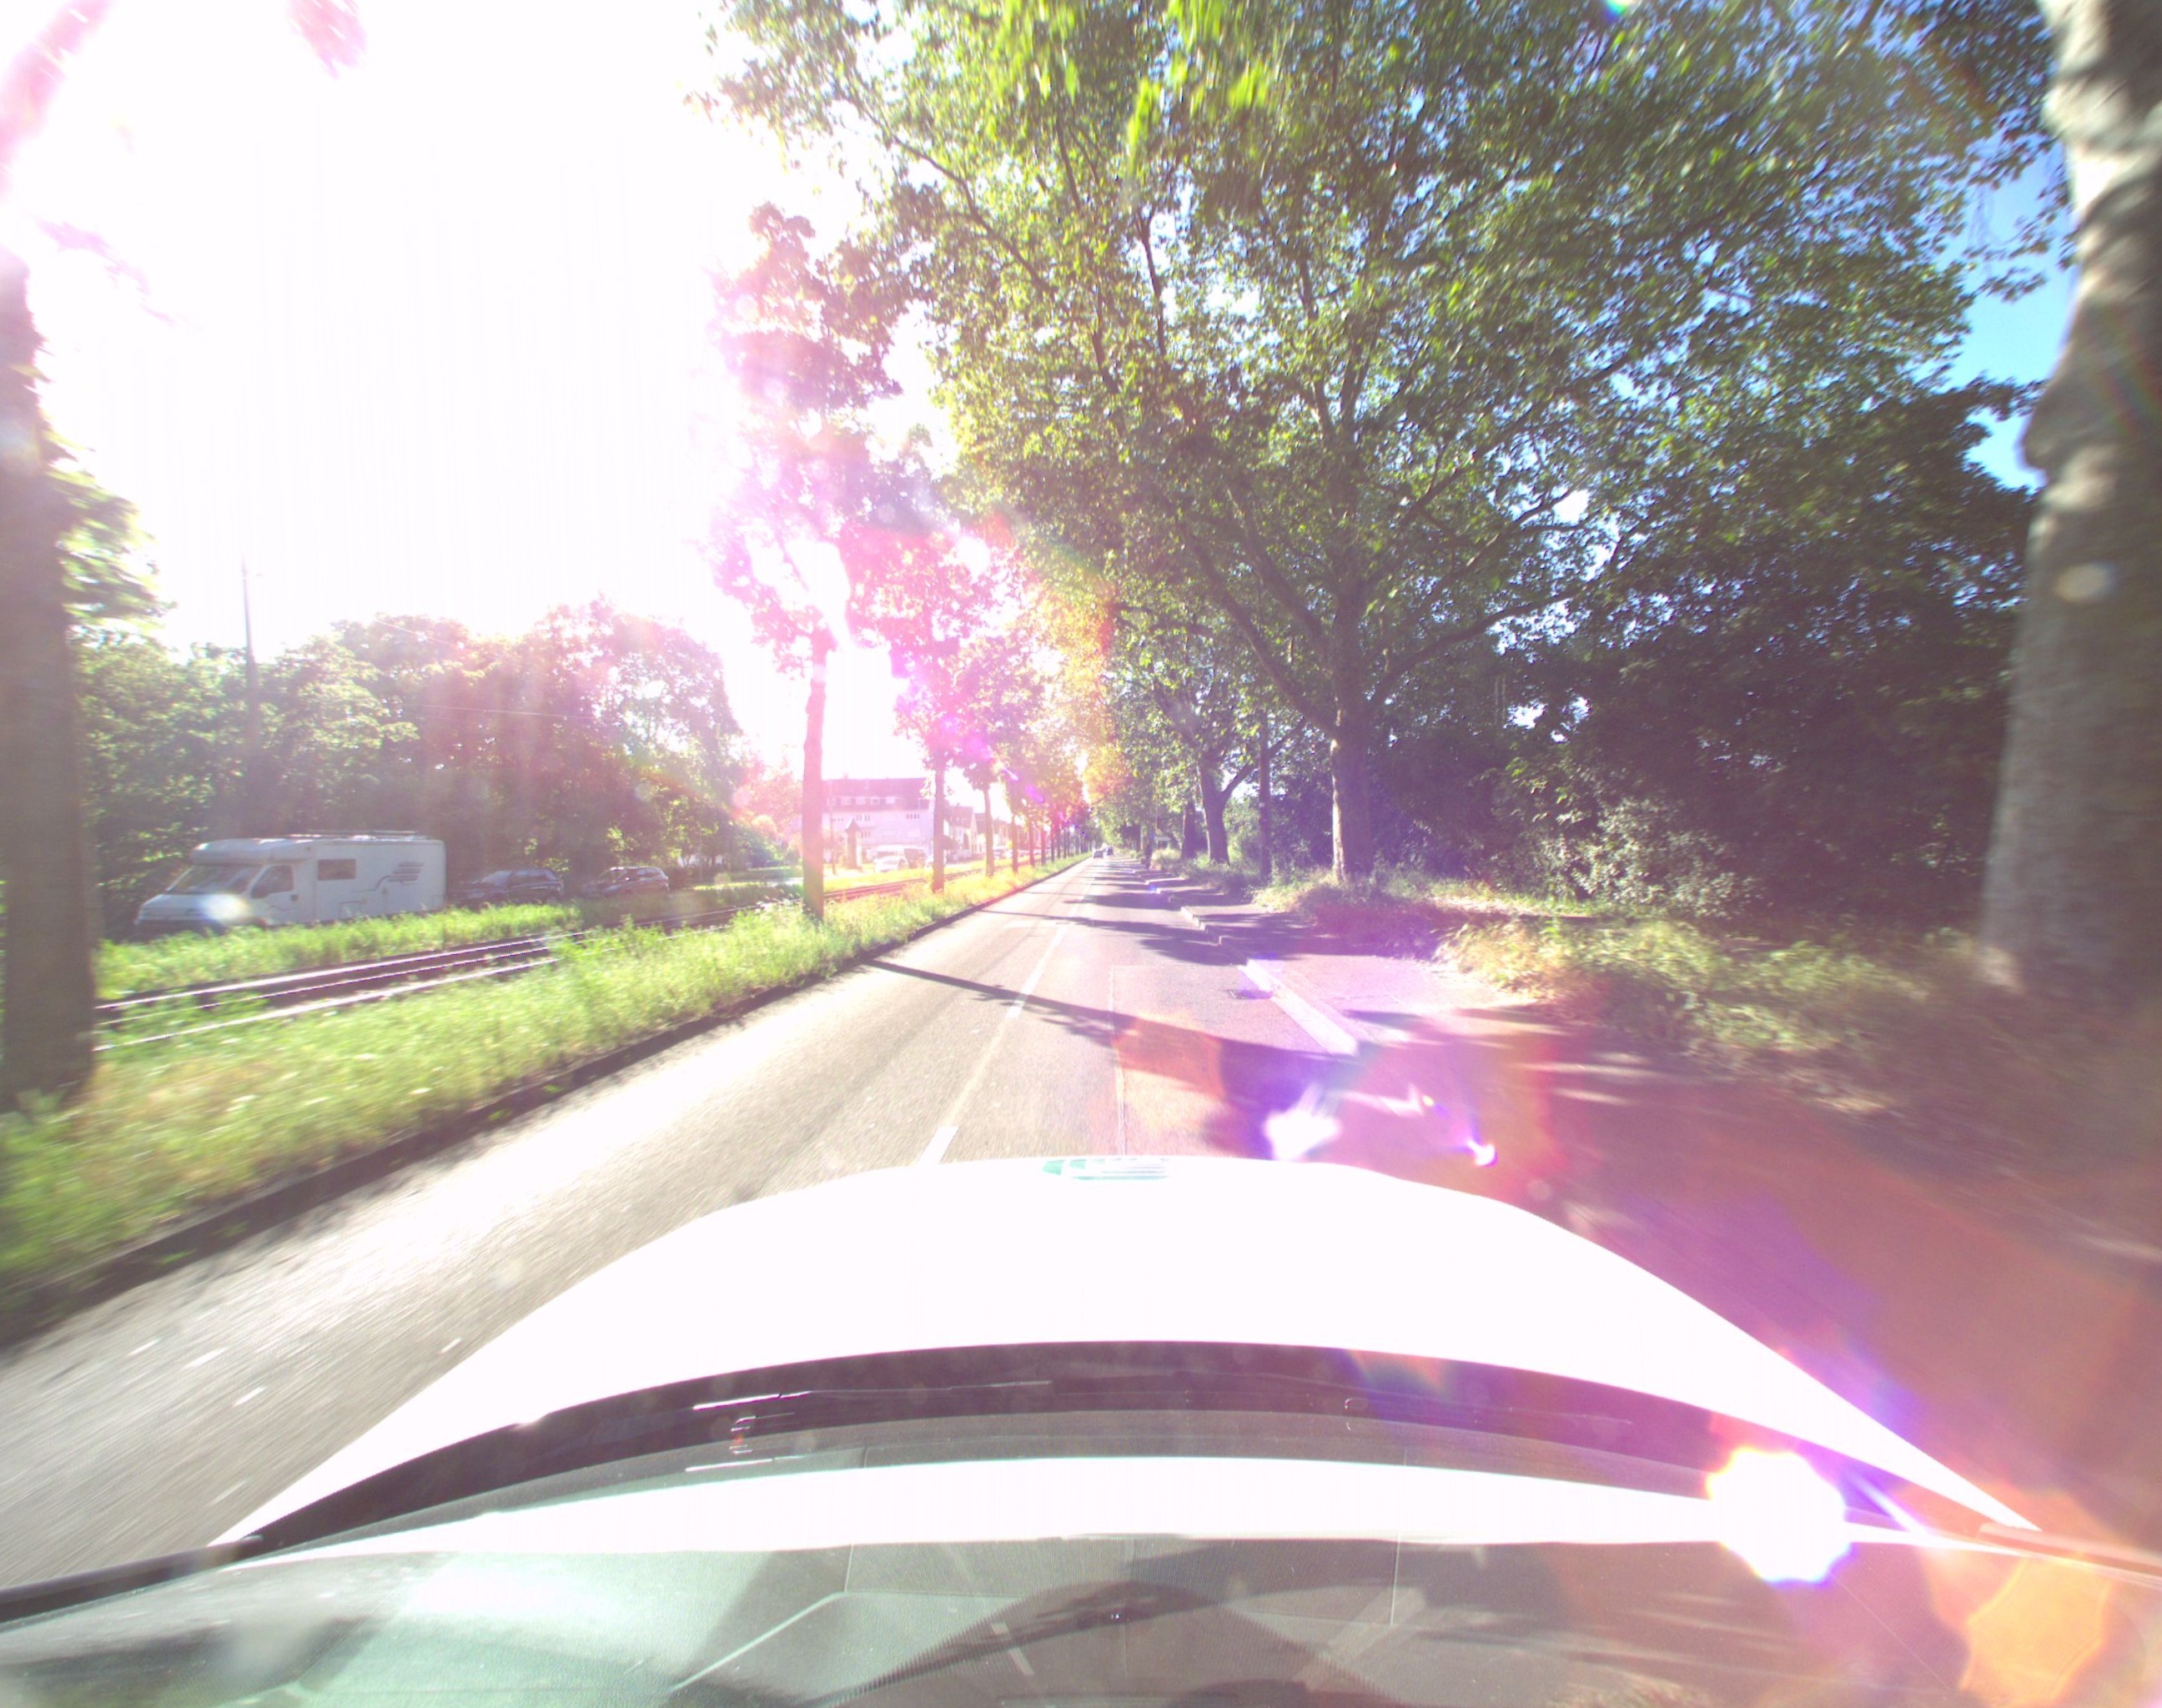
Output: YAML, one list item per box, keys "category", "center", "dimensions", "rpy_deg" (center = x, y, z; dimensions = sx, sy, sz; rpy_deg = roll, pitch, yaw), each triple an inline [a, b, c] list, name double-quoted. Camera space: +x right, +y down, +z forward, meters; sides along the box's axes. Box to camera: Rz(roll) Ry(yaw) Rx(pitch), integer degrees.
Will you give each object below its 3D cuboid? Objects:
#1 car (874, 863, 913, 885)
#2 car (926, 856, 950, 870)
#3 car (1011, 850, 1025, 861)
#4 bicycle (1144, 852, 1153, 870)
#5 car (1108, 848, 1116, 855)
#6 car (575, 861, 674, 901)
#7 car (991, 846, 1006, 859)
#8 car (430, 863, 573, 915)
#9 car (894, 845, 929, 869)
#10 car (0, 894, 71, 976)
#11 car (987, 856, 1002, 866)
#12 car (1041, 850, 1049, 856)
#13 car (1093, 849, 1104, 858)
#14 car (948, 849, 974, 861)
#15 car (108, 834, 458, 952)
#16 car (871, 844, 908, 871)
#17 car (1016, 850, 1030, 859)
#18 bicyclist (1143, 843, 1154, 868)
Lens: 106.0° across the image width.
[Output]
- category: "car"
  center: [-14.031, 1.494, 61.071]
  dimensions: [1.720, 1.528, 4.445]
  rpy_deg: [0, 0, 3]
- category: "car"
  center: [-17.450, 1.054, 99.555]
  dimensions: [1.816, 1.607, 4.776]
  rpy_deg: [0, 0, 2]
- category: "car"
  center: [-10.770, 0.276, 138.441]
  dimensions: [1.803, 1.744, 4.984]
  rpy_deg: [0, 0, 2]
- category: "bicycle"
  center: [4.567, 0.461, 55.074]
  dimensions: [0.438, 1.153, 1.824]
  rpy_deg: [-2, 0, 2]
- category: "car"
  center: [7.219, -0.509, 188.042]
  dimensions: [1.754, 1.513, 3.279]
  rpy_deg: [0, 0, 3]
- category: "car"
  center: [-19.581, 1.133, 35.133]
  dimensions: [1.667, 1.584, 4.252]
  rpy_deg: [0, 0, 4]
- category: "car"
  center: [-16.044, -0.320, 158.313]
  dimensions: [1.986, 2.459, 6.677]
  rpy_deg: [0, 0, 1]
- category: "car"
  center: [-19.891, 1.143, 28.232]
  dimensions: [1.616, 1.622, 4.534]
  rpy_deg: [0, 0, 2]
- category: "car"
  center: [-17.974, 0.320, 86.681]
  dimensions: [2.174, 2.376, 6.468]
  rpy_deg: [0, 0, 2]
- category: "car"
  center: [-20.527, 1.499, 13.807]
  dimensions: [1.703, 1.434, 4.003]
  rpy_deg: [0, 0, 3]
- category: "car"
  center: [-12.245, 0.971, 115.609]
  dimensions: [1.551, 1.395, 3.822]
  rpy_deg: [0, 0, 2]
- category: "car"
  center: [-9.605, -0.330, 215.333]
  dimensions: [1.670, 1.409, 4.002]
  rpy_deg: [-2, 0, 2]
- category: "car"
  center: [2.827, -0.027, 133.003]
  dimensions: [1.732, 1.401, 3.278]
  rpy_deg: [0, 0, 2]
- category: "car"
  center: [-21.260, 0.195, 144.377]
  dimensions: [4.616, 1.945, 1.994]
  rpy_deg: [-1, 0, -9]
- category: "car"
  center: [-20.050, 0.822, 21.195]
  dimensions: [2.217, 2.580, 6.802]
  rpy_deg: [0, 1, 2]
- category: "car"
  center: [-18.346, 0.310, 78.296]
  dimensions: [1.994, 2.496, 6.139]
  rpy_deg: [0, 0, 1]
- category: "car"
  center: [-10.901, 0.096, 153.399]
  dimensions: [1.985, 1.531, 3.754]
  rpy_deg: [-2, 0, 3]
- category: "bicyclist"
  center: [4.552, 0.113, 55.116]
  dimensions: [0.611, 1.628, 0.910]
  rpy_deg: [-2, 0, 2]
